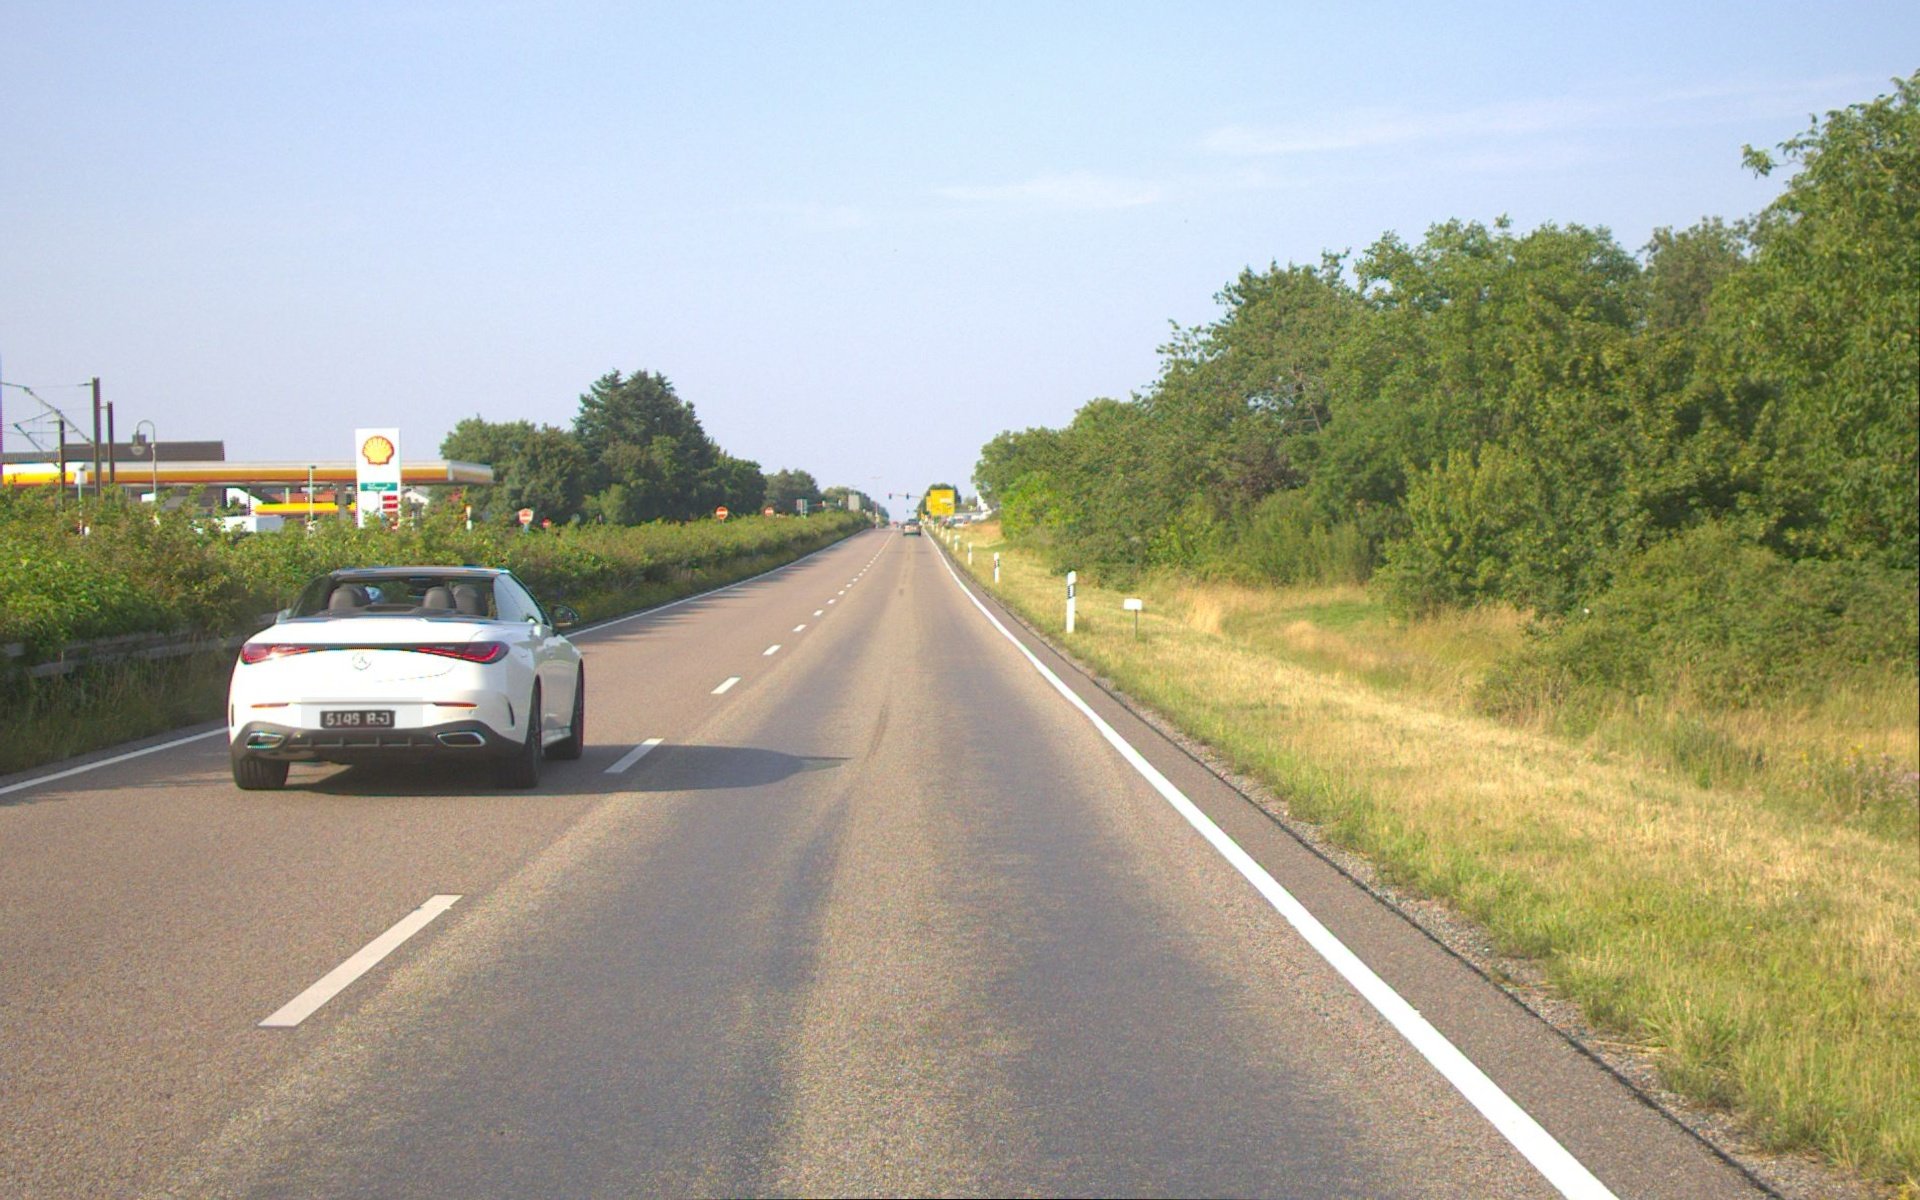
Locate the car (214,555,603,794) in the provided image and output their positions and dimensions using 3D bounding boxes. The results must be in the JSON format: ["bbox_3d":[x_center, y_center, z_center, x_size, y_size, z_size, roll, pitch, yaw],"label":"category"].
[{"bbox_3d":[-3.465,0.402,22.467,1.771,1.333,4.950,1,1,0],"label":"car"}]
